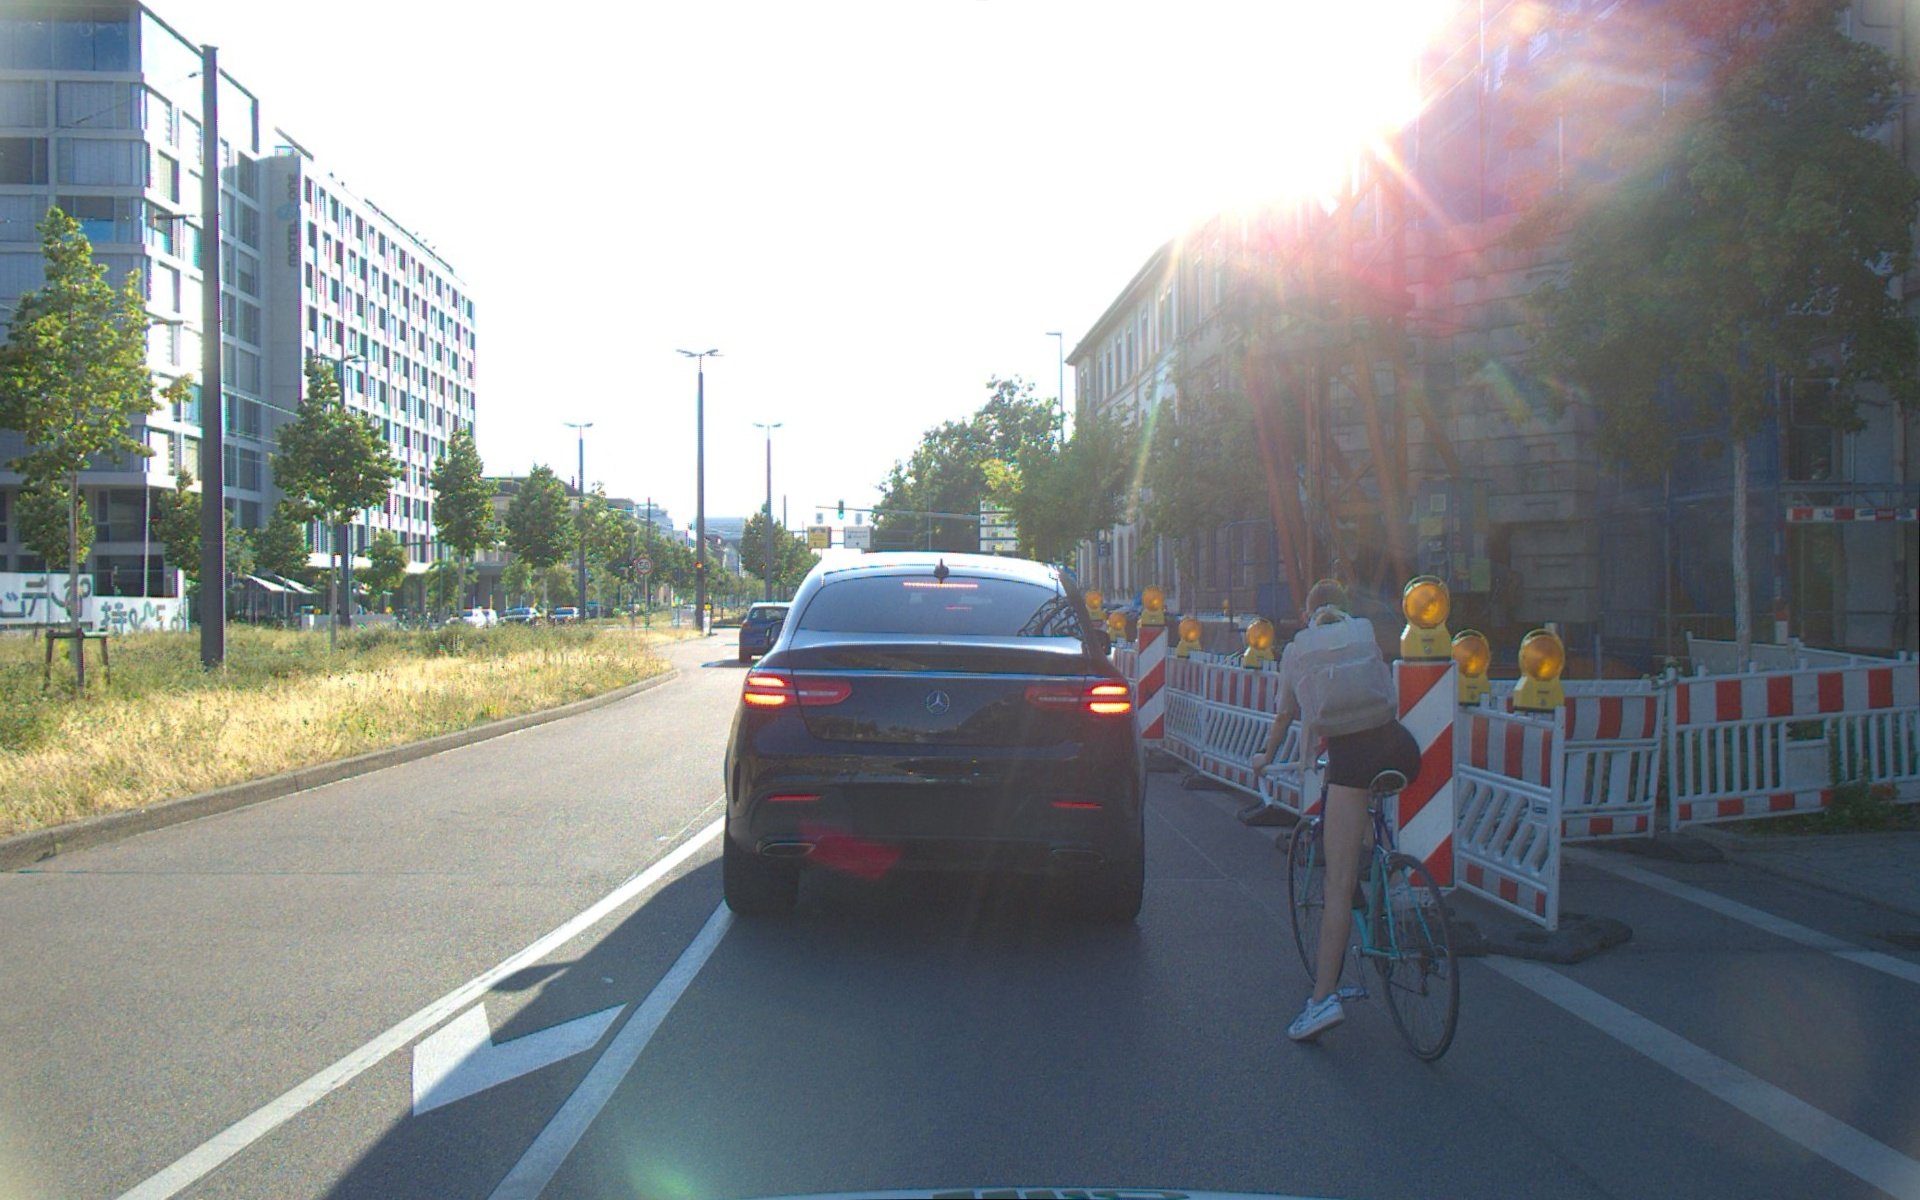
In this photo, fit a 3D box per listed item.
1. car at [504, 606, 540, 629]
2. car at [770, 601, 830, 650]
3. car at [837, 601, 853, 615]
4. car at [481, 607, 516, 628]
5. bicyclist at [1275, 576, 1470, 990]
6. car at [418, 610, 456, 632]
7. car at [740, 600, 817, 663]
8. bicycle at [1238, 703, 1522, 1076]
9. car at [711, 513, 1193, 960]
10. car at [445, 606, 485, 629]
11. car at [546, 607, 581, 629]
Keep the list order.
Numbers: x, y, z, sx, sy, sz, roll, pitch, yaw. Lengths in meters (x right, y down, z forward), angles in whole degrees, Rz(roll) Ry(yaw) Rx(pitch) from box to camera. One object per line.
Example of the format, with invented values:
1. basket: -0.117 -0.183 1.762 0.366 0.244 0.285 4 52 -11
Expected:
1. car: -29.946 1.188 113.211 1.674 1.467 3.580 1 0 -3
2. car: -4.988 0.787 51.954 1.674 1.467 3.580 1 0 -3
3. car: -12.780 0.916 183.332 1.674 1.467 3.580 1 0 -3
4. car: -33.821 1.290 121.298 1.674 1.467 3.580 1 0 -3
5. bicyclist: 1.482 0.634 6.007 0.512 1.420 0.614 1 -1 -4
6. car: -36.969 1.472 116.992 1.674 1.467 3.580 1 0 -3
7. car: -4.461 0.757 41.032 1.674 1.467 3.580 1 0 -3
8. bicycle: 1.474 0.968 6.088 0.502 1.070 1.724 1 0 -3
9. car: -0.058 0.570 8.791 1.953 1.803 3.999 1 0 -1
10. car: -32.545 1.125 108.772 1.674 1.467 3.580 1 0 -3
11. car: -27.443 1.237 114.467 1.674 1.467 3.580 1 0 -3
